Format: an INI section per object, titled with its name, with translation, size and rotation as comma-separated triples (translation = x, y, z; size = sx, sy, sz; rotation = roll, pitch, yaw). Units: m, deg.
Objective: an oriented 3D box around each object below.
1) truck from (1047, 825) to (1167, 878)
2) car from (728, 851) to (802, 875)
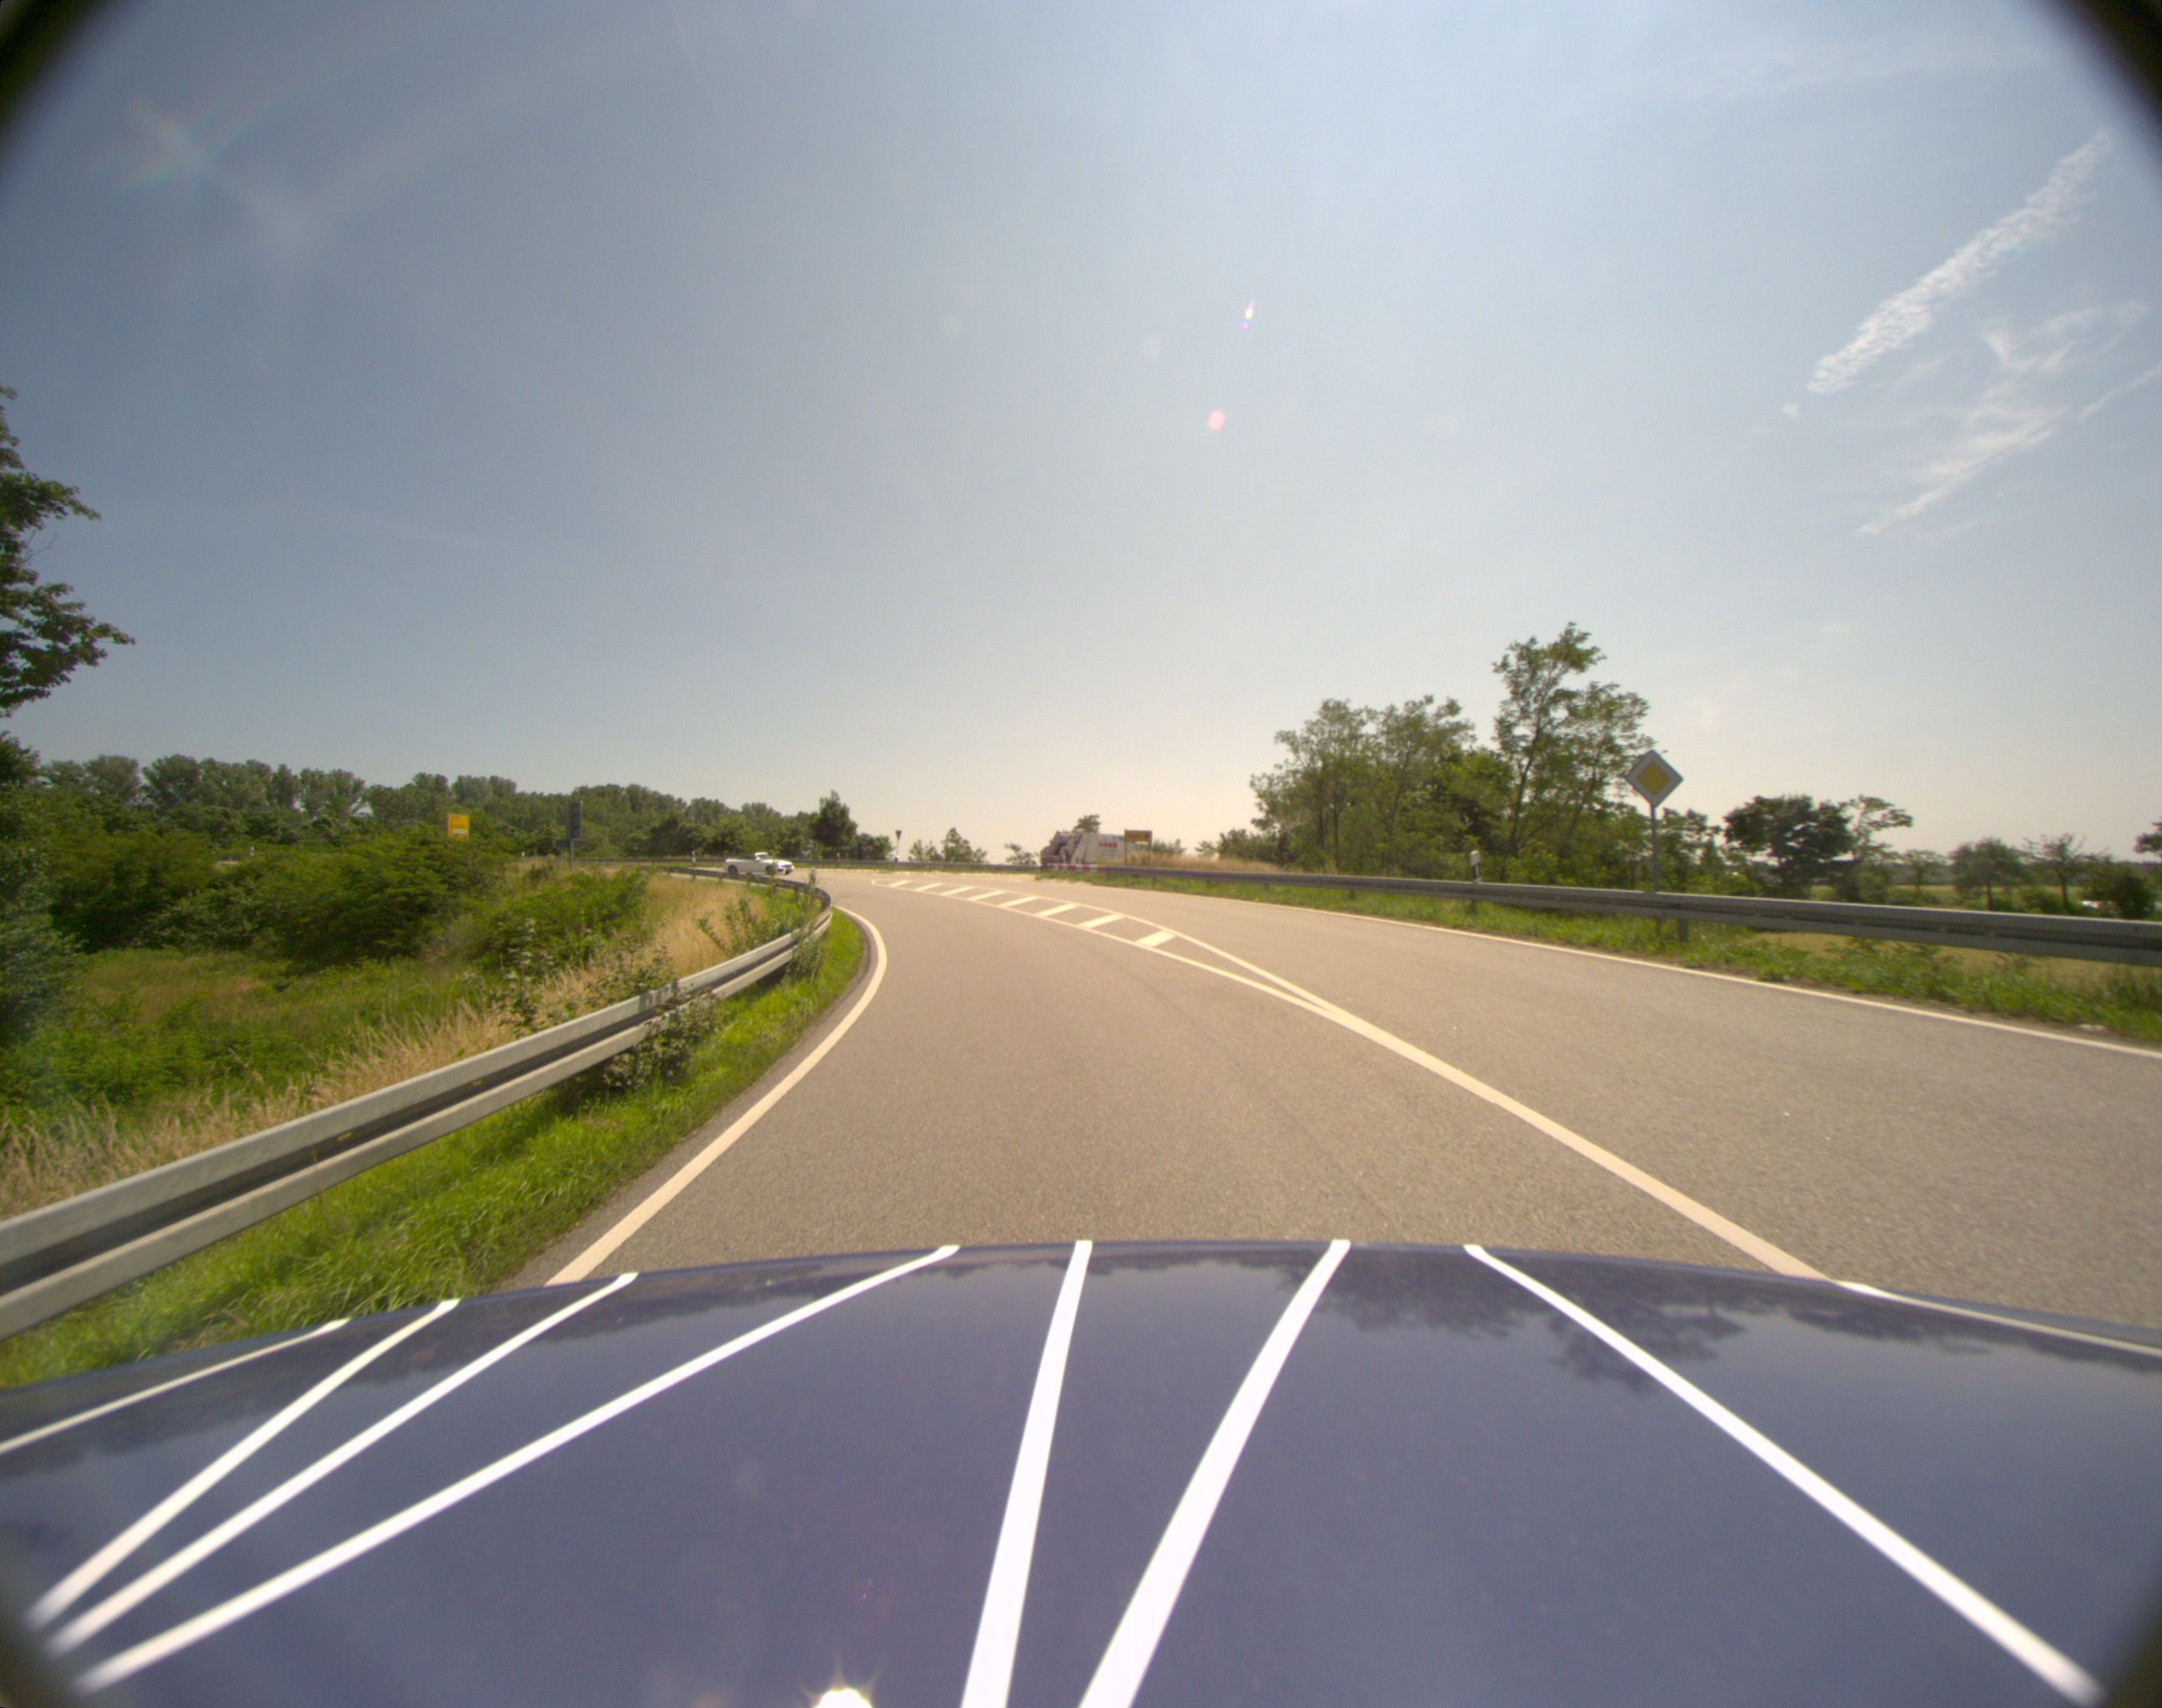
[truck]
translation = 2.206, -0.123, 60.114
size = 9.971, 3.647, 2.814
rotation = 3, -1, -40
[car]
translation = -20.679, 0.589, 49.759
size = 4.103, 1.407, 1.816
rotation = -2, 0, 14
